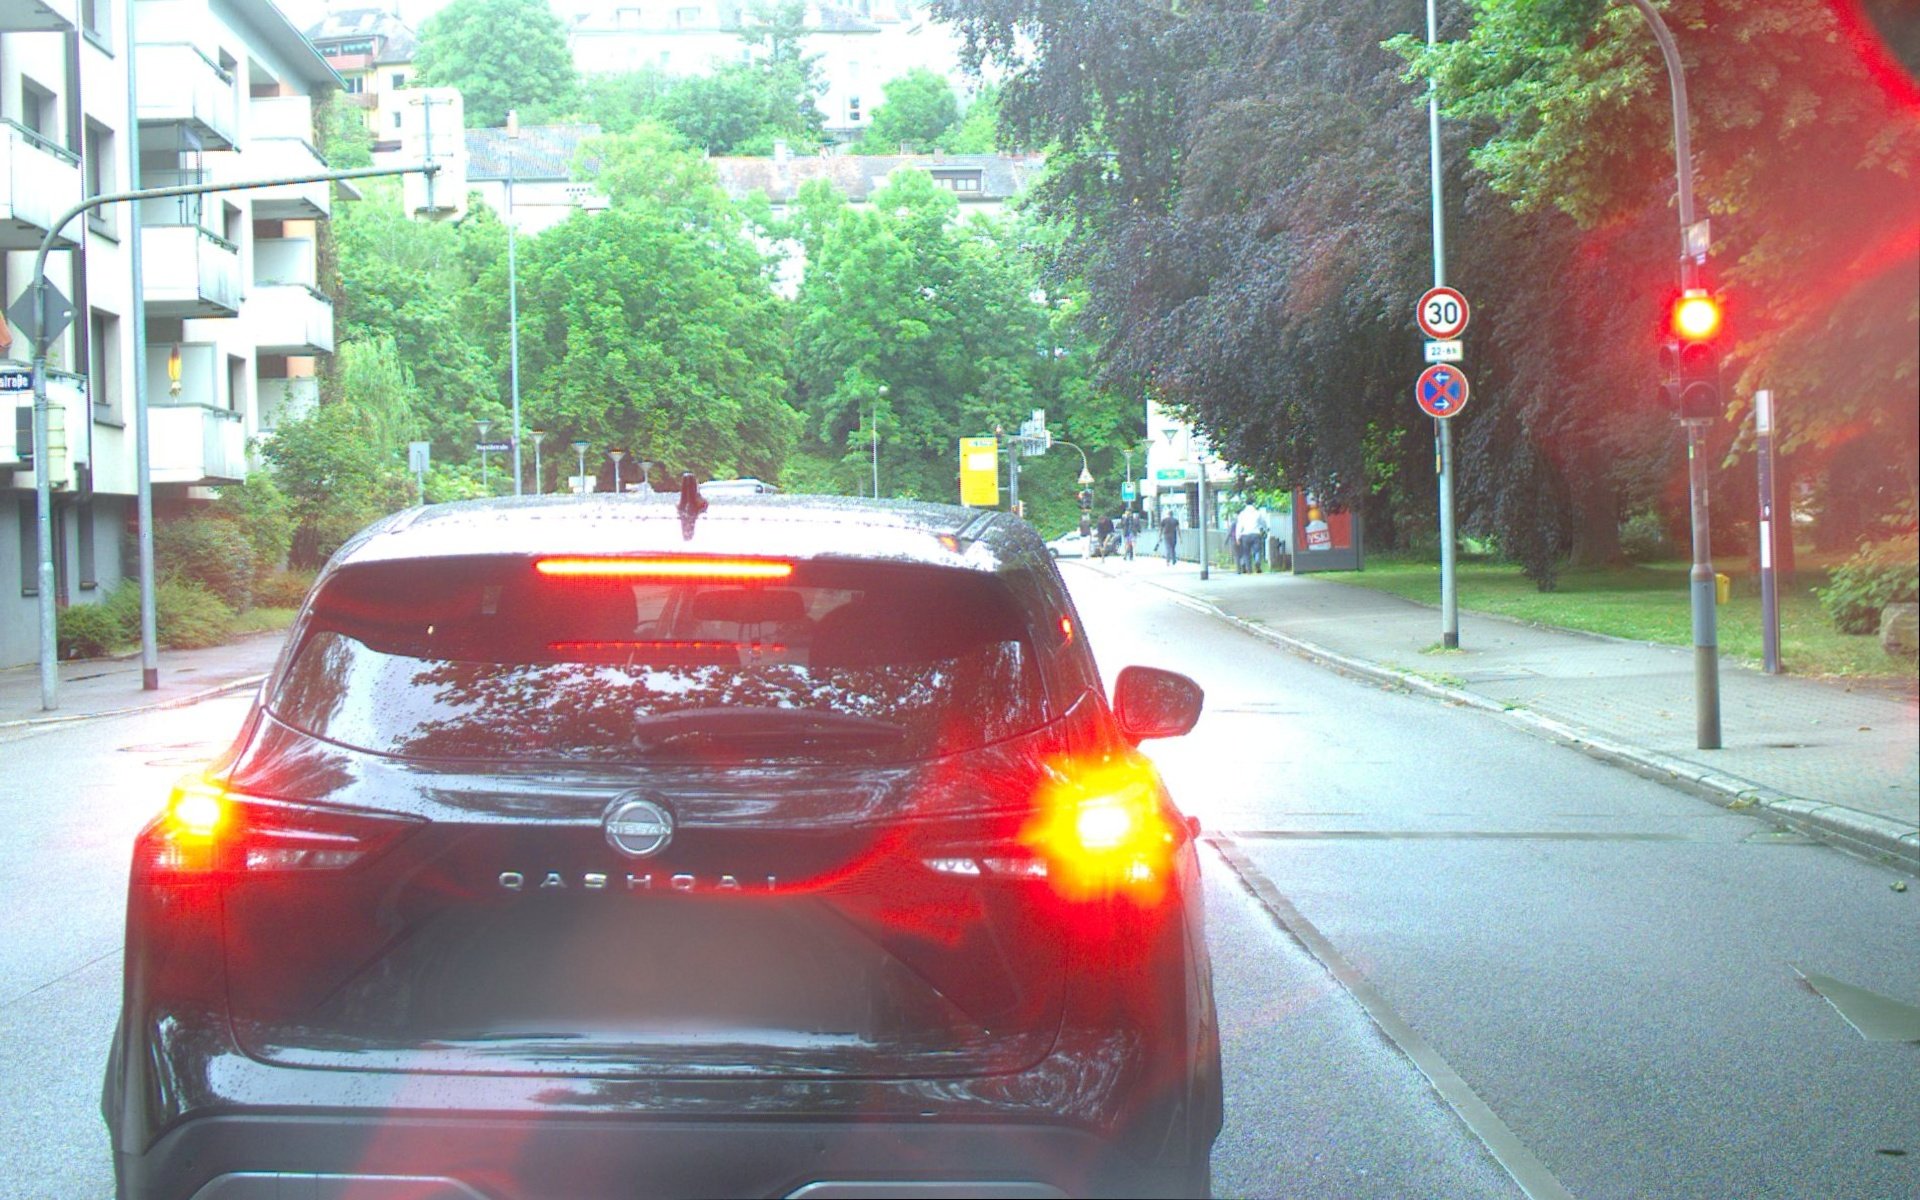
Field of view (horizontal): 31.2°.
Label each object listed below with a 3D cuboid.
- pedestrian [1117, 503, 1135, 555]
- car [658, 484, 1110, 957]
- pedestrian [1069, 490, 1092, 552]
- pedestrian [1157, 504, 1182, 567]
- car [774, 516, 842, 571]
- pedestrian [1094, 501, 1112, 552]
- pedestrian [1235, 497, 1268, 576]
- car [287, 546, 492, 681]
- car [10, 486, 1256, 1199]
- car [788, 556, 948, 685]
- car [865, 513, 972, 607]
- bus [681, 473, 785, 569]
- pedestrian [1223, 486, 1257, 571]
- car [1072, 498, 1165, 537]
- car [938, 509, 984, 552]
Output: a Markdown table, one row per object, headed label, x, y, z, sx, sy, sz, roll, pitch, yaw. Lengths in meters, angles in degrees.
| label | x | y | z | sx | sy | sz | roll | pitch | yaw |
| --- | --- | --- | --- | --- | --- | --- | --- | --- | --- |
| pedestrian | 5.380 | -2.300 | 111.324 | 0.514 | 1.650 | 0.550 | 1 | 0 | -1 |
| car | -0.249 | 0.412 | 14.700 | 1.622 | 1.703 | 3.771 | -2 | 1 | 1 |
| pedestrian | 4.311 | -2.826 | 123.143 | 0.768 | 2.176 | 0.711 | 1 | 0 | 3 |
| pedestrian | 6.065 | -1.866 | 99.468 | 0.618 | 1.773 | 0.551 | -2 | 1 | -1 |
| car | -4.113 | -1.532 | 93.314 | 1.624 | 1.410 | 3.455 | -2 | 1 | 0 |
| pedestrian | 4.669 | -2.411 | 112.431 | 0.544 | 1.645 | 0.490 | 1 | 0 | 0 |
| pedestrian | 6.676 | -1.459 | 78.759 | 0.618 | 1.773 | 0.778 | -2 | 1 | -1 |
| car | -6.723 | 0.121 | 40.905 | 1.808 | 1.412 | 4.031 | -3 | 1 | -2 |
| car | -0.504 | 0.618 | 7.027 | 1.806 | 1.584 | 4.000 | 1 | 1 | -1 |
| car | -1.102 | 0.208 | 41.111 | 1.808 | 1.412 | 4.031 | 0 | 1 | -2 |
| car | -0.655 | -0.670 | 55.646 | 1.624 | 1.410 | 3.455 | -2 | 1 | 0 |
| bus | -7.510 | -2.617 | 115.206 | 2.766 | 2.964 | 11.782 | -2 | 1 | -1 |
| pedestrian | 6.760 | -1.726 | 83.126 | 0.675 | 2.007 | 0.777 | -2 | 1 | -1 |
| car | 7.524 | -3.913 | 163.202 | 3.986 | 1.678 | 2.001 | -2 | 1 | -10 |
| car | 0.033 | -2.780 | 136.458 | 1.750 | 1.628 | 3.635 | -2 | 1 | 0 |
